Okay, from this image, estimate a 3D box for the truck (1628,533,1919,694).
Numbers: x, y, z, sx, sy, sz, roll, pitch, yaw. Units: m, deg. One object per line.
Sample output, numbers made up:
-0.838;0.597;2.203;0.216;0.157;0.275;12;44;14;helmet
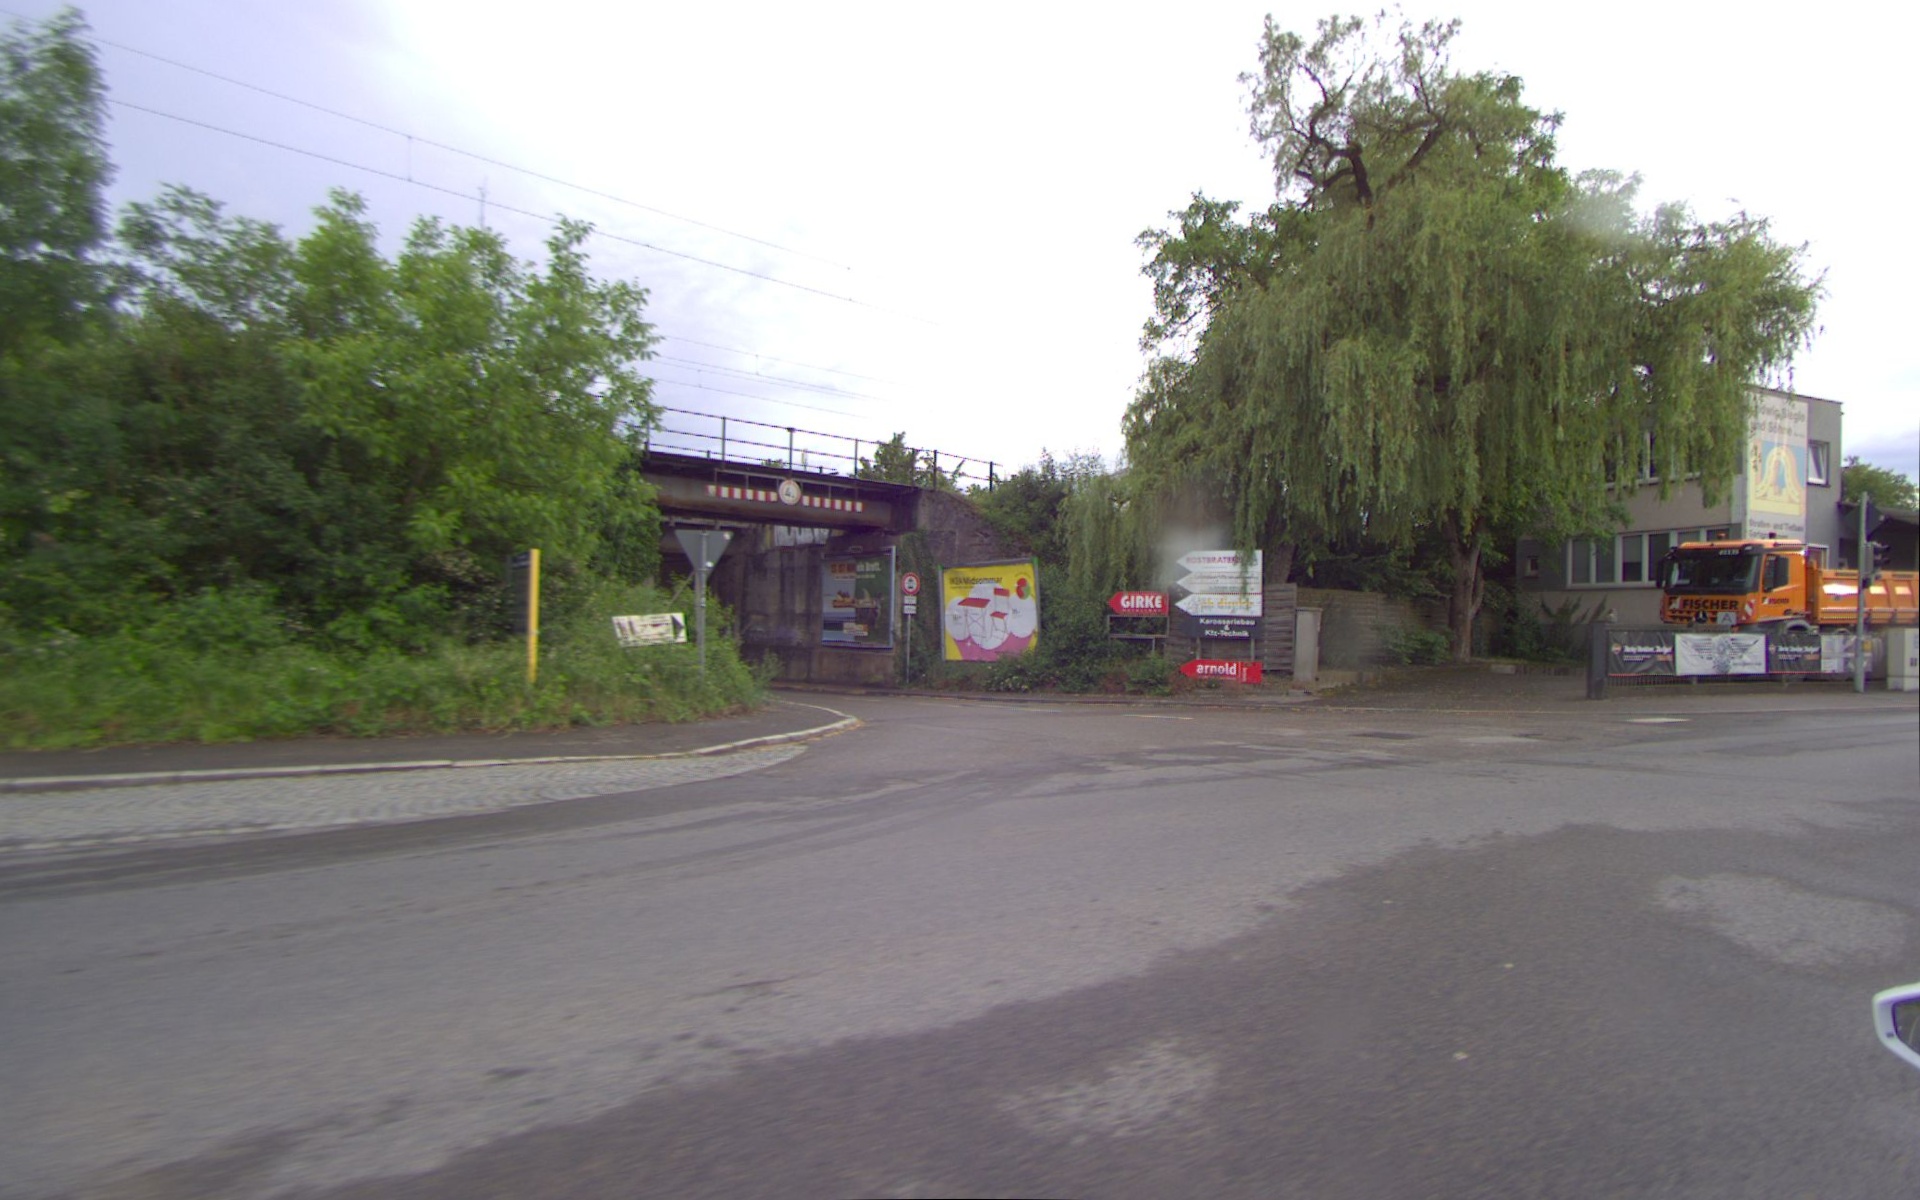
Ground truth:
21.431;0.454;25.510;8.940;3.456;2.692;4;0;-22;truck
